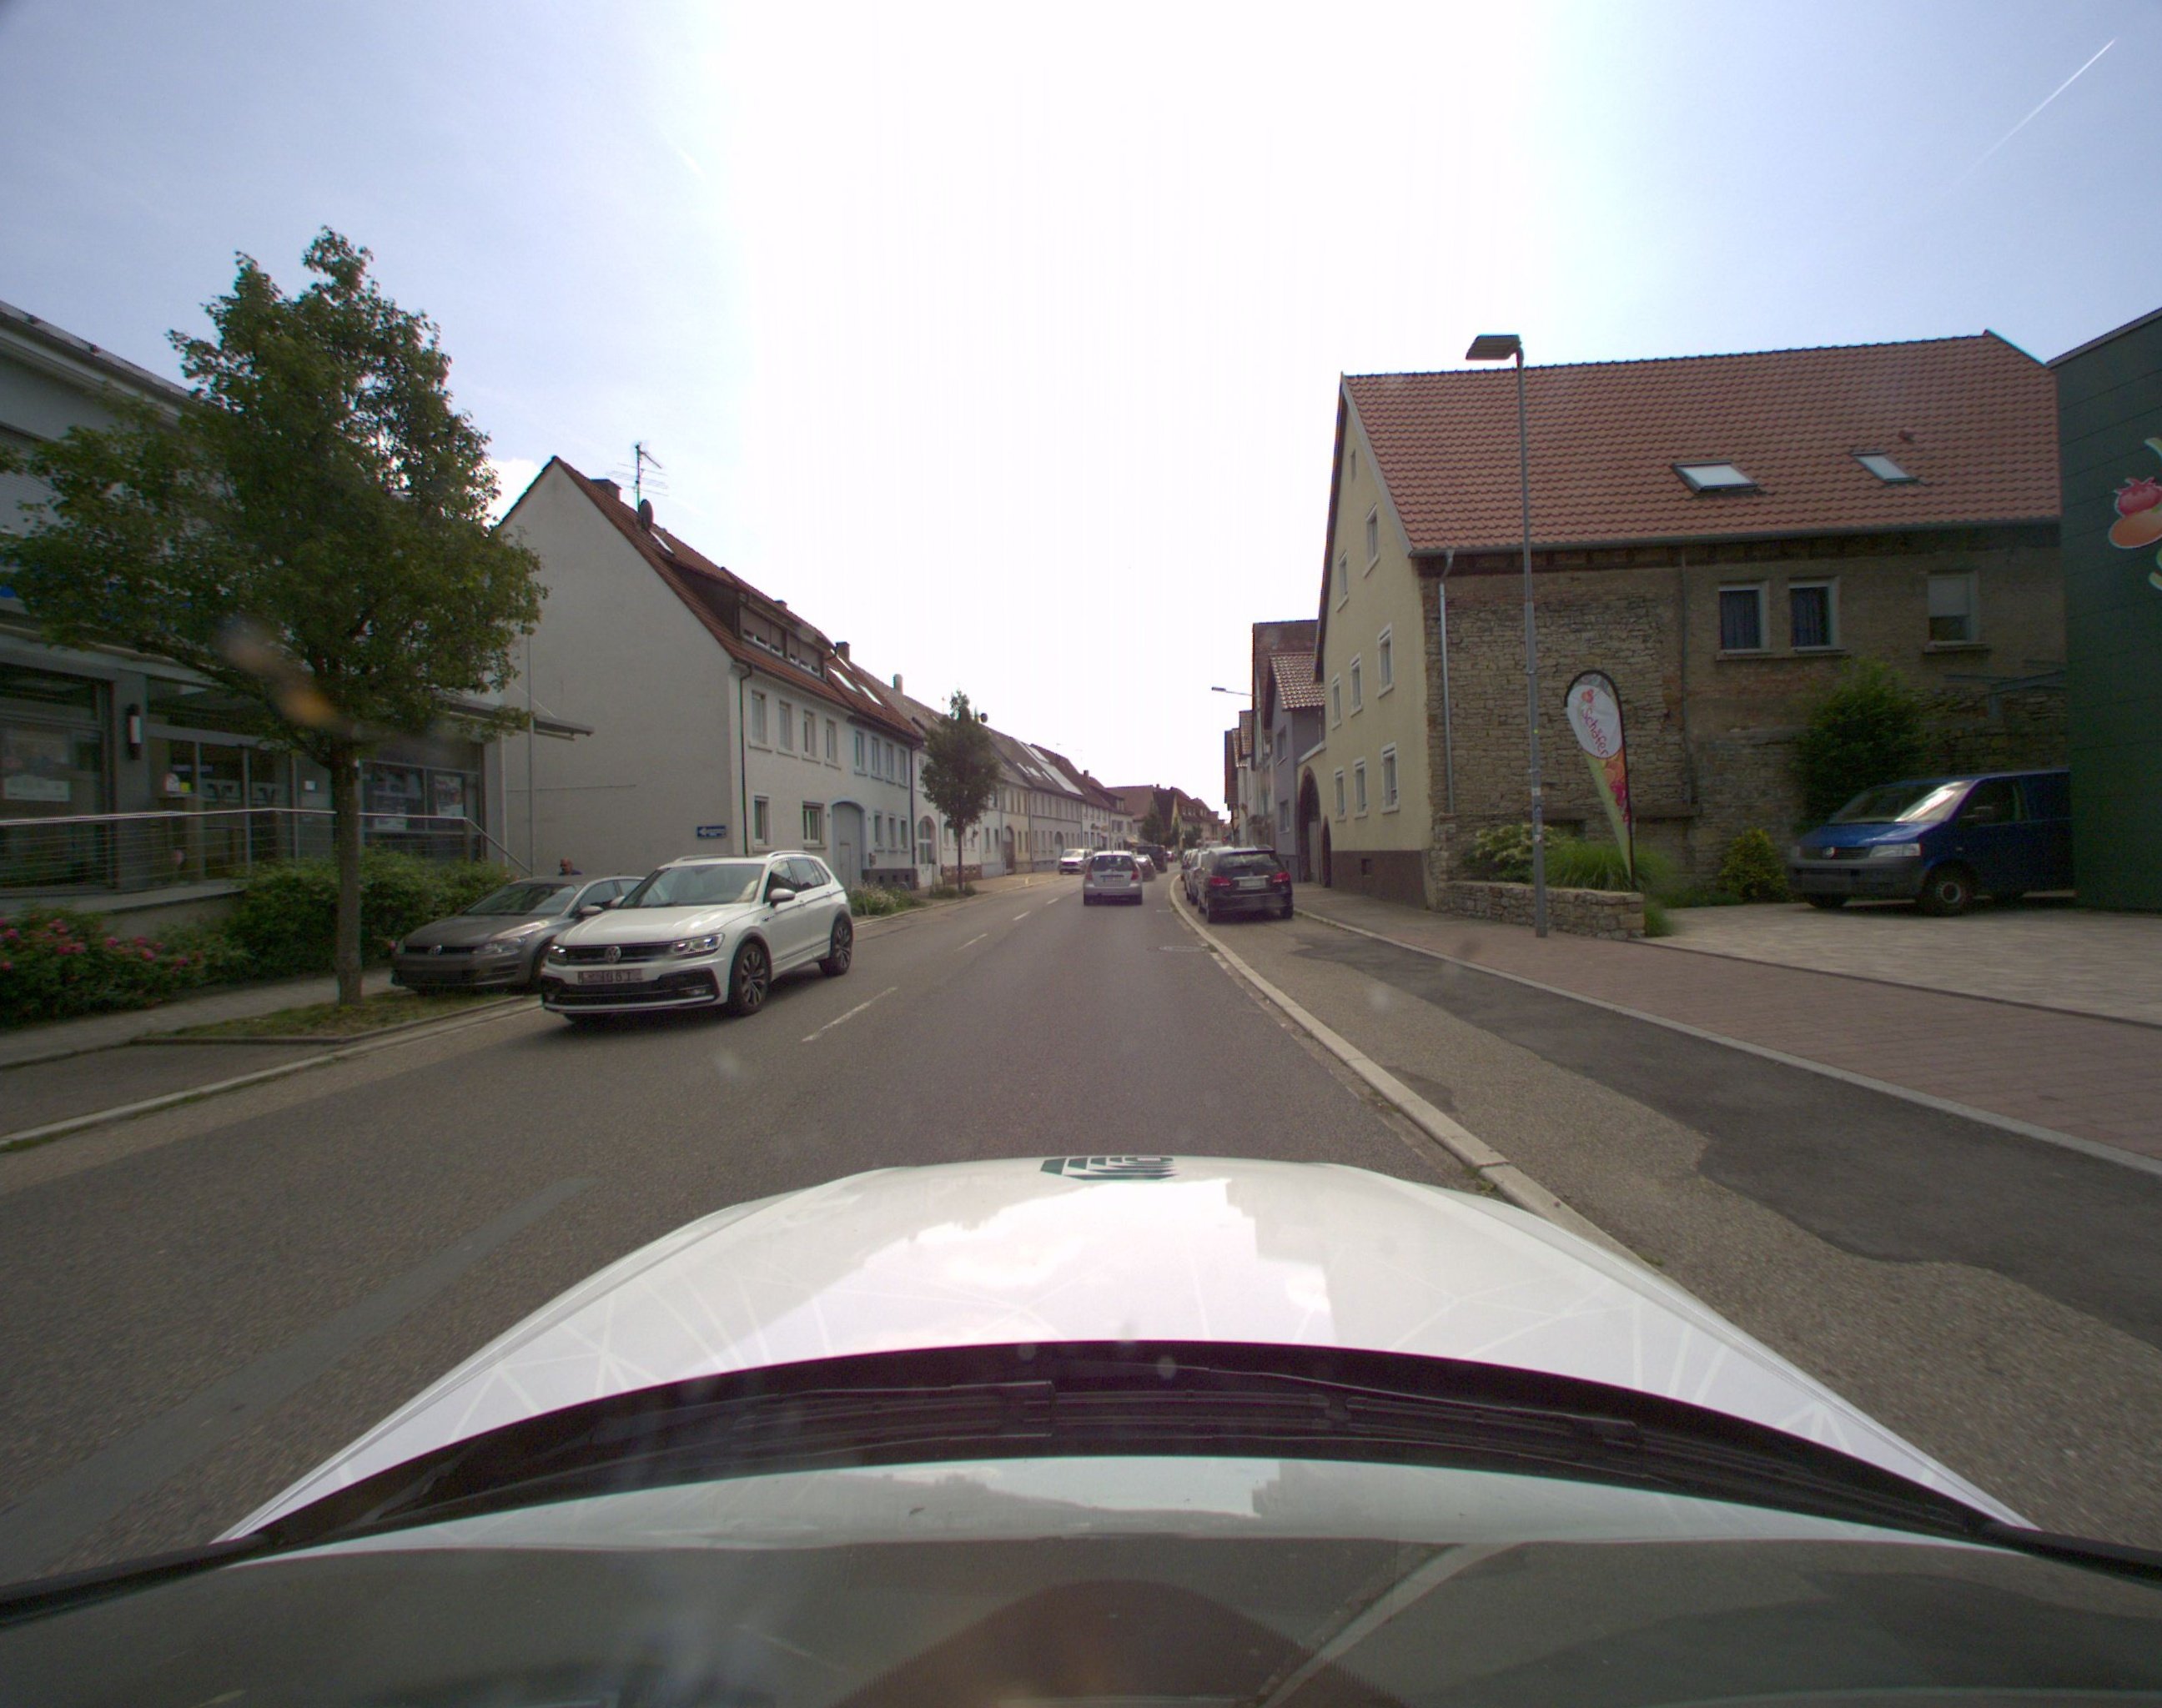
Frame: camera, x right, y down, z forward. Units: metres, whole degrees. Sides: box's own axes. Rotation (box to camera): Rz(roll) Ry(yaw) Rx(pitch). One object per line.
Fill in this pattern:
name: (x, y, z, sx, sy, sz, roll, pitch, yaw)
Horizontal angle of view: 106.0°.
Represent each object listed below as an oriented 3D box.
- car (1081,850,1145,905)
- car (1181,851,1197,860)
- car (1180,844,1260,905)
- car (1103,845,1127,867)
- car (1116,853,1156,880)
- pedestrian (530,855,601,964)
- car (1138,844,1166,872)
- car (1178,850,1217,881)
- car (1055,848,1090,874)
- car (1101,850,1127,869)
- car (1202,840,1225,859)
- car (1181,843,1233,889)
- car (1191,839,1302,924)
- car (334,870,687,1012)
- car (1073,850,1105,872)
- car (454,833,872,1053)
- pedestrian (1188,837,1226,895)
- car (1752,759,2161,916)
car: (1.083, 0.705, 25.584, 1.760, 1.595, 4.006, 0, -1, 6)
car: (15.566, 0.215, 117.596, 1.692, 1.269, 4.017, -4, -1, 16)
car: (3.963, 0.557, 23.791, 1.852, 1.531, 4.201, -3, -1, 4)
car: (3.416, 0.197, 80.966, 1.984, 2.013, 4.006, -3, -1, 6)
car: (3.064, 0.685, 44.459, 1.934, 1.407, 4.008, 0, 0, 7)
pedestrian: (-8.954, 0.945, 14.167, 0.736, 1.801, 0.642, -3, -1, 0)
car: (5.106, 0.287, 58.194, 1.758, 1.888, 4.457, 0, -1, 9)
car: (5.997, 0.586, 42.161, 1.851, 1.463, 3.457, -3, -1, 7)
car: (-0.606, 0.511, 62.576, 2.080, 1.884, 4.008, -3, 0, 7)
car: (3.167, 0.502, 78.419, 1.780, 1.649, 4.013, -4, -1, 12)
car: (16.216, -0.565, 99.721, 2.219, 2.222, 4.016, -4, -1, 15)
car: (4.988, 0.463, 32.591, 1.851, 1.626, 4.205, -3, -1, 7)
car: (3.536, 0.530, 18.124, 1.983, 1.559, 4.008, -4, 0, 6)
car: (-7.509, 1.034, 11.349, 1.797, 1.460, 4.161, -2, 0, 3)
car: (0.682, 0.601, 69.929, 1.981, 1.706, 4.012, -3, -1, 10)
car: (-4.172, 0.748, 9.254, 1.945, 1.784, 4.658, -3, 0, 5)
pedestrian: (4.175, 0.396, 26.888, 1.088, 1.821, 1.474, -3, 0, 12)
car: (13.211, -0.256, 12.025, 5.040, 1.950, 1.998, -3, 0, -3)
